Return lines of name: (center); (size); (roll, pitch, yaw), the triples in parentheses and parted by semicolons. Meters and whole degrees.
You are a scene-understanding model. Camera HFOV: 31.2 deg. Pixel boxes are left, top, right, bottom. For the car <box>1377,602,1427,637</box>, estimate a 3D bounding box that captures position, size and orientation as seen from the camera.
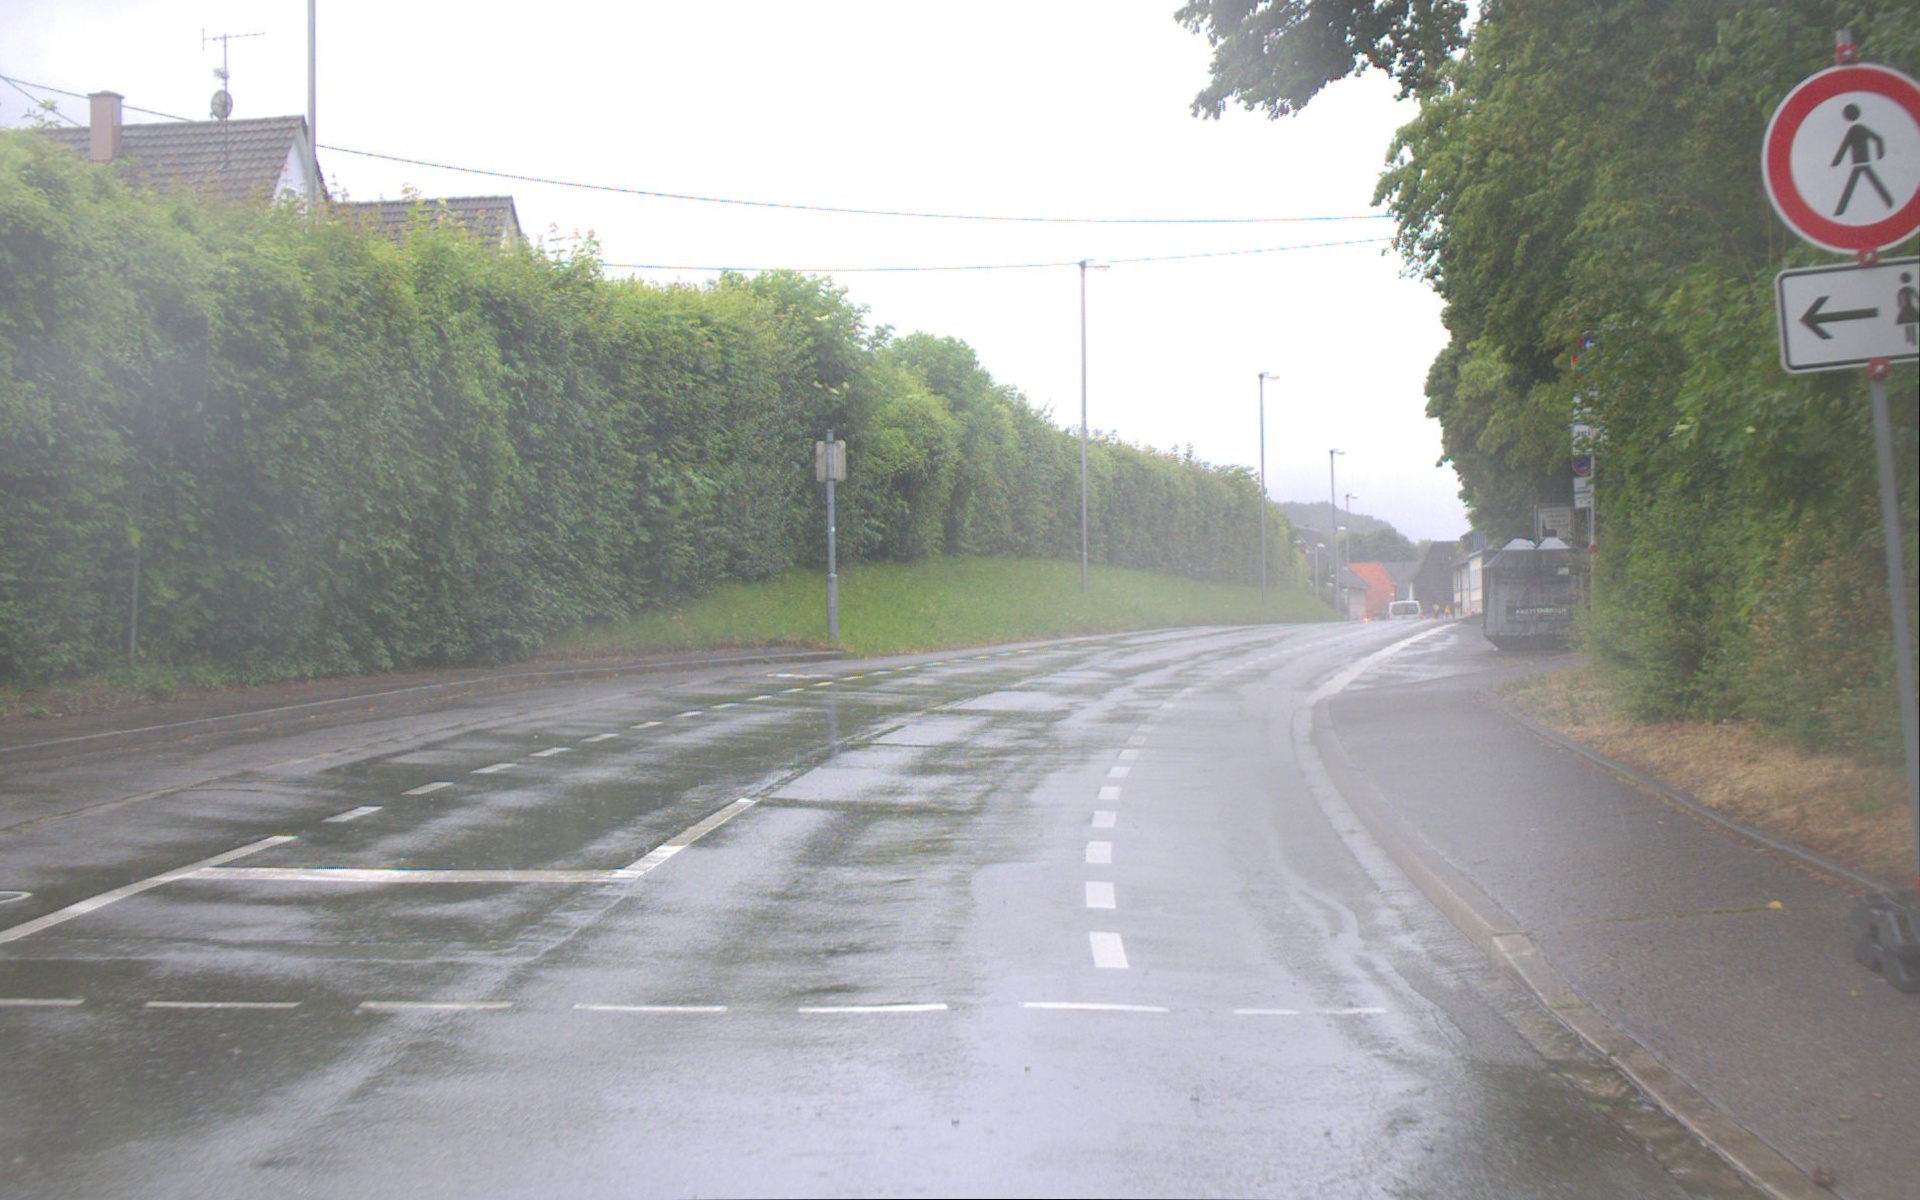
car: (21.718, 0.962, 169.169); (1.993, 1.605, 4.000); (2, 0, 1)
